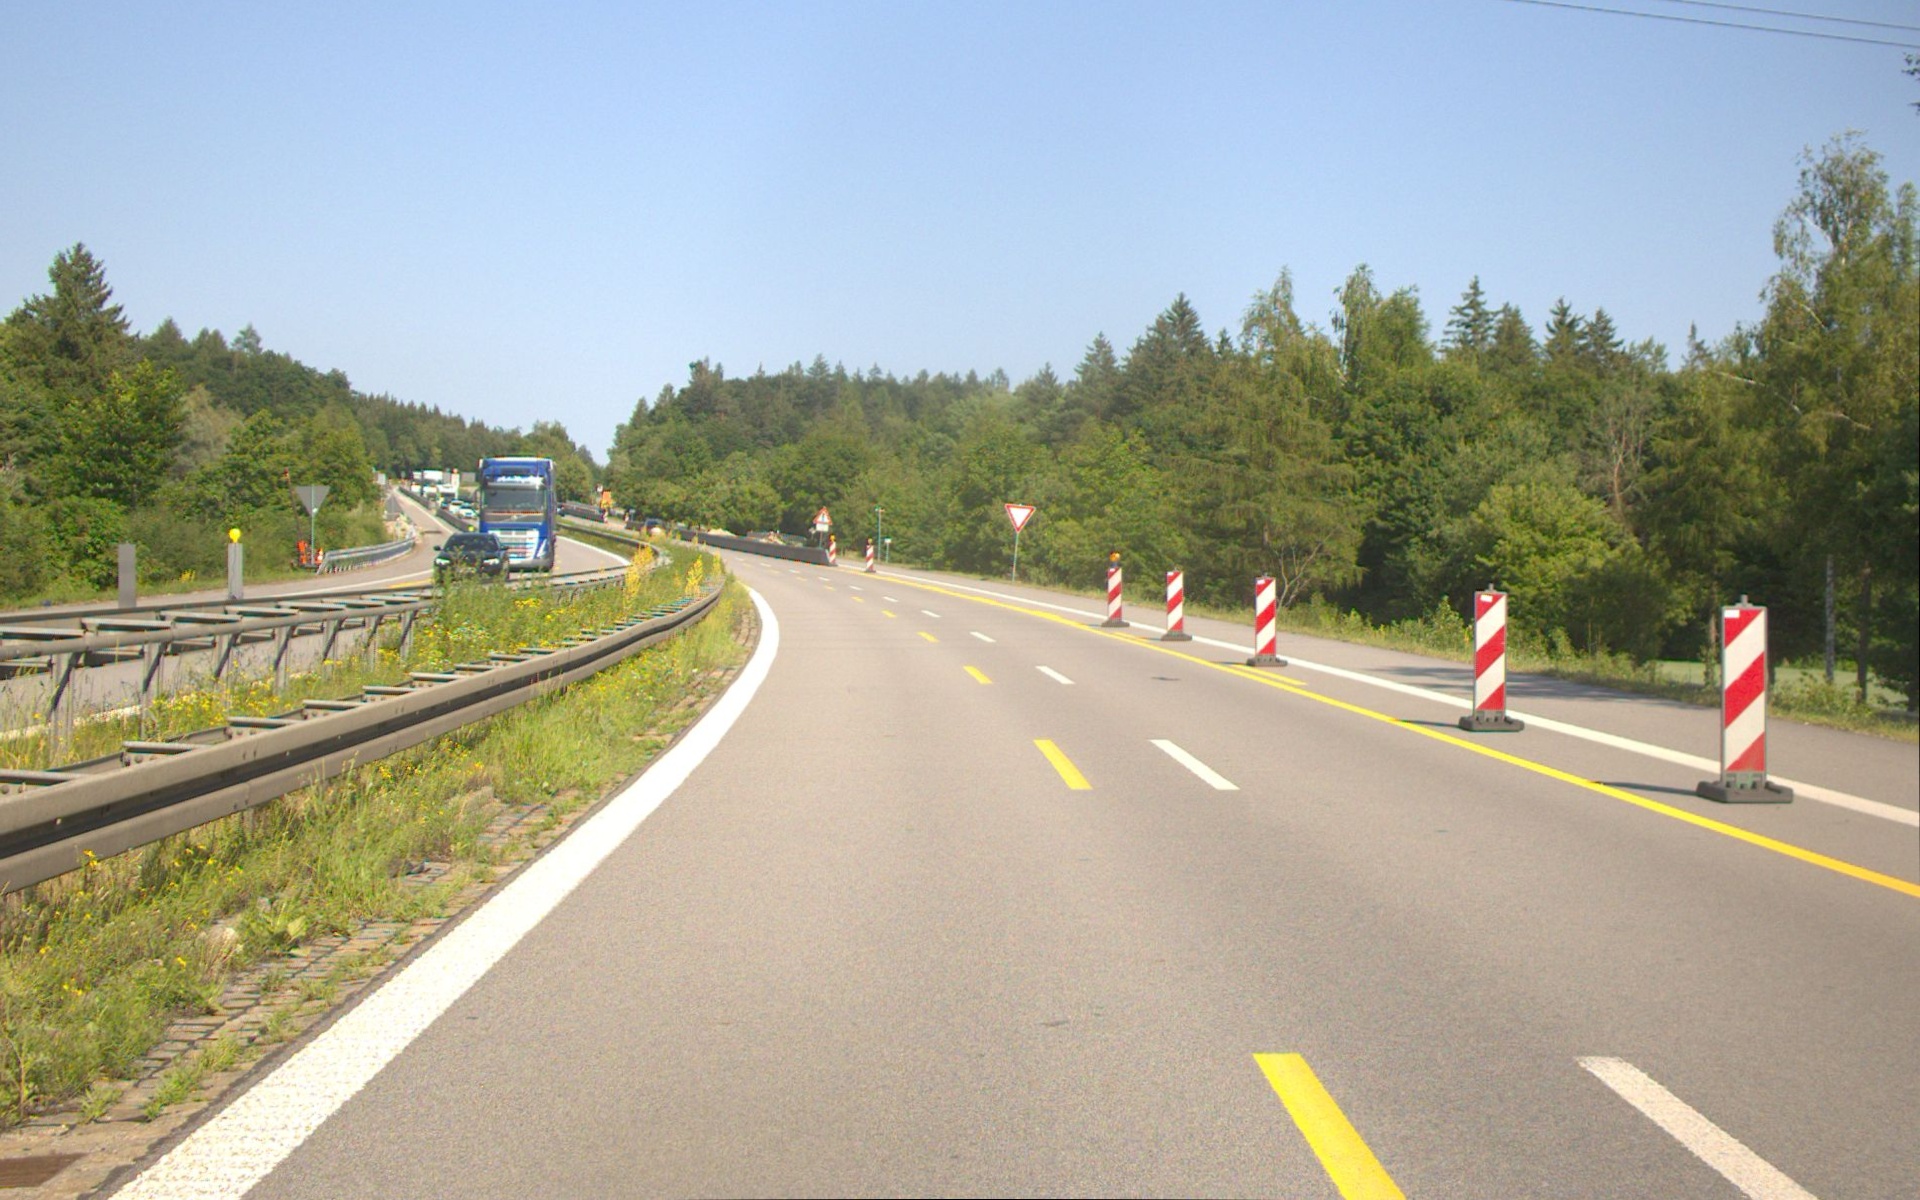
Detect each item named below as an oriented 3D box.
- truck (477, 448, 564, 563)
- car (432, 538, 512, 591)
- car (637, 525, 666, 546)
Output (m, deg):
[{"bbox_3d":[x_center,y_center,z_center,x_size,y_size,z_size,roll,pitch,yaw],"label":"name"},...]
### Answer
[{"bbox_3d":[-15.575,-3.305,122.173,2.632,3.946,5.843,1,1,-3],"label":"truck"},{"bbox_3d":[-13.391,-0.987,94.490,1.777,1.424,4.269,0,1,-3],"label":"car"},{"bbox_3d":[-23.450,-4.894,261.108,1.743,1.461,4.295,3,1,-10],"label":"car"}]
